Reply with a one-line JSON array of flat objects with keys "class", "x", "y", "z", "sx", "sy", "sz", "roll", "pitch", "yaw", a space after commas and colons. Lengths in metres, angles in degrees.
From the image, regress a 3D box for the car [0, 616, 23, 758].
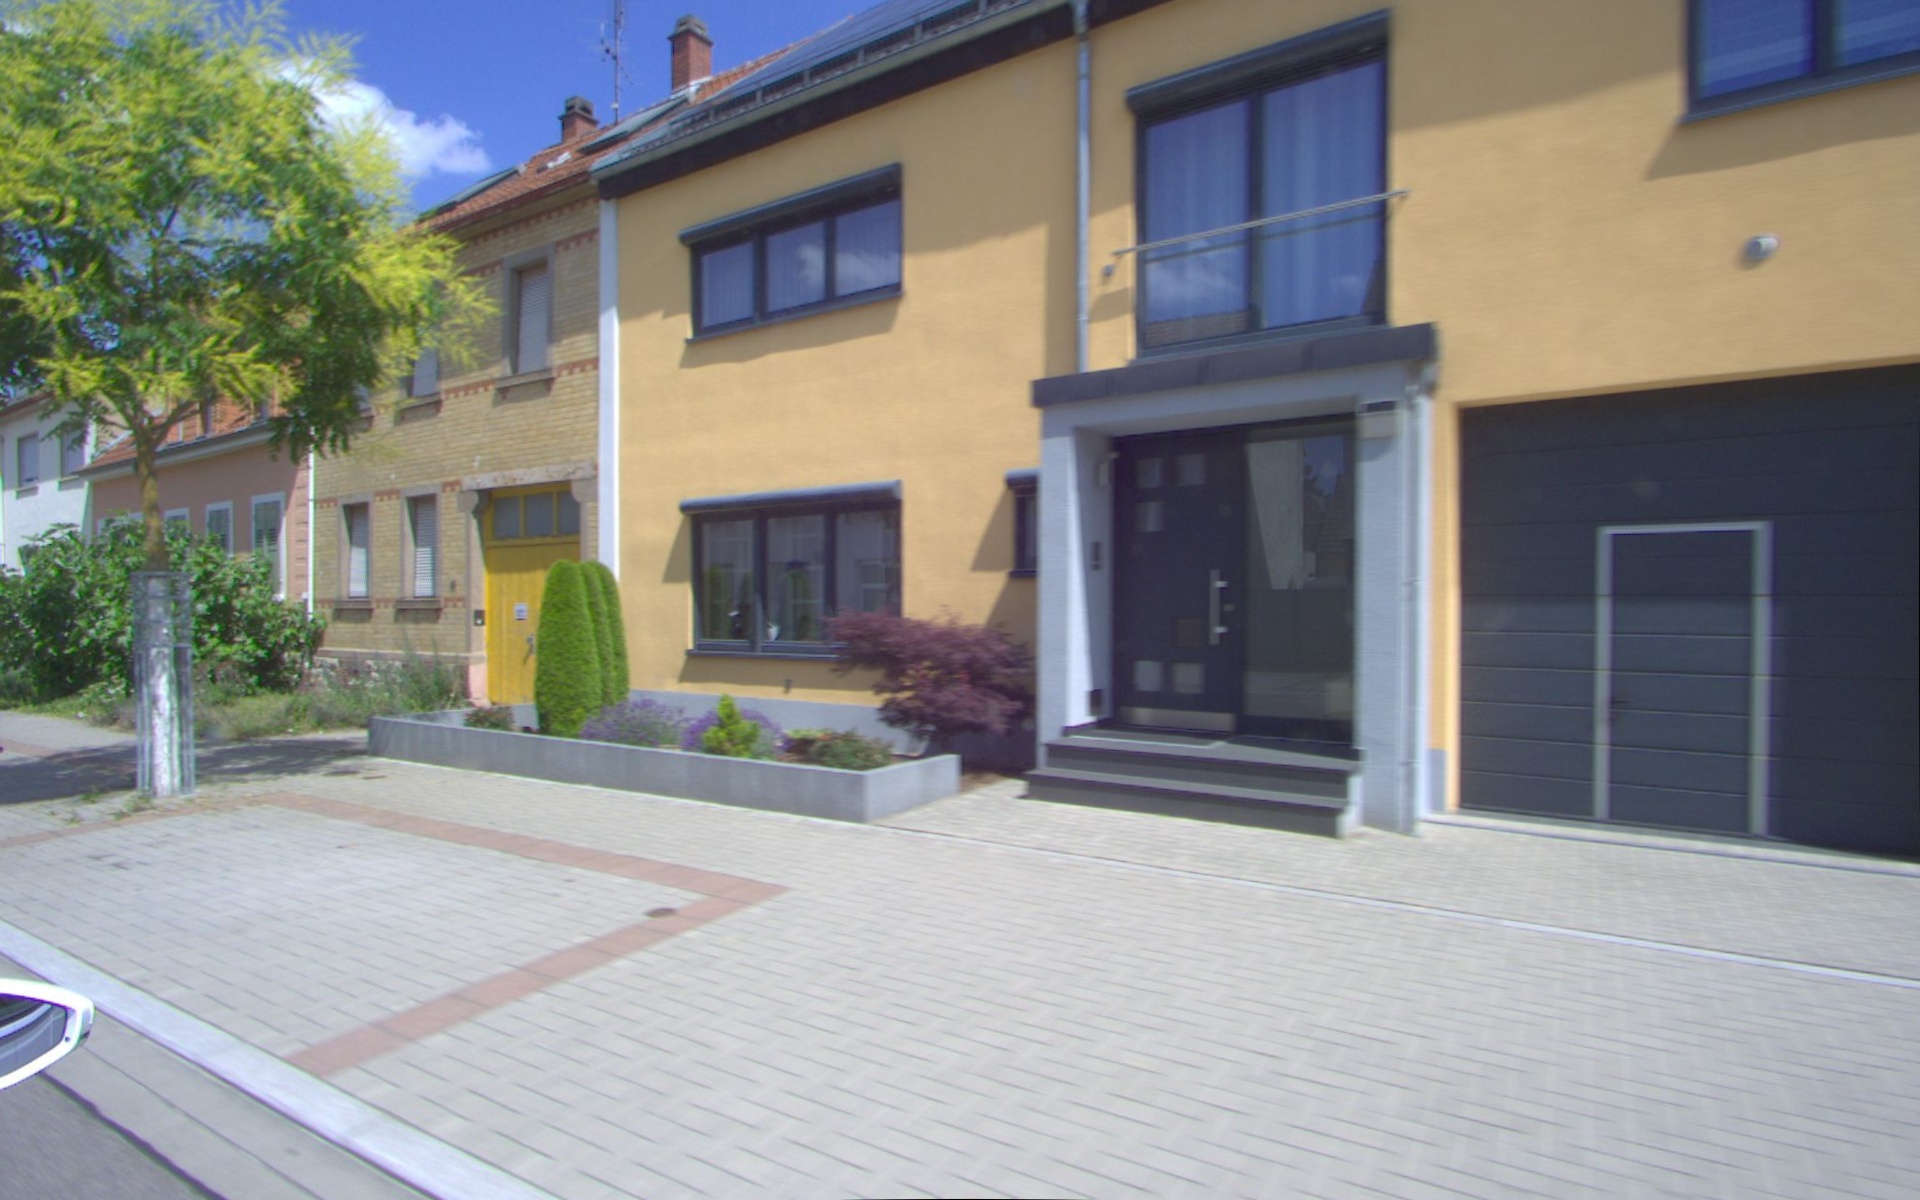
[{"class": "car", "x": -12.390, "y": 0.943, "z": 11.174, "sx": 4.234, "sy": 1.508, "sz": 1.763, "roll": 0, "pitch": 0, "yaw": 32}]
